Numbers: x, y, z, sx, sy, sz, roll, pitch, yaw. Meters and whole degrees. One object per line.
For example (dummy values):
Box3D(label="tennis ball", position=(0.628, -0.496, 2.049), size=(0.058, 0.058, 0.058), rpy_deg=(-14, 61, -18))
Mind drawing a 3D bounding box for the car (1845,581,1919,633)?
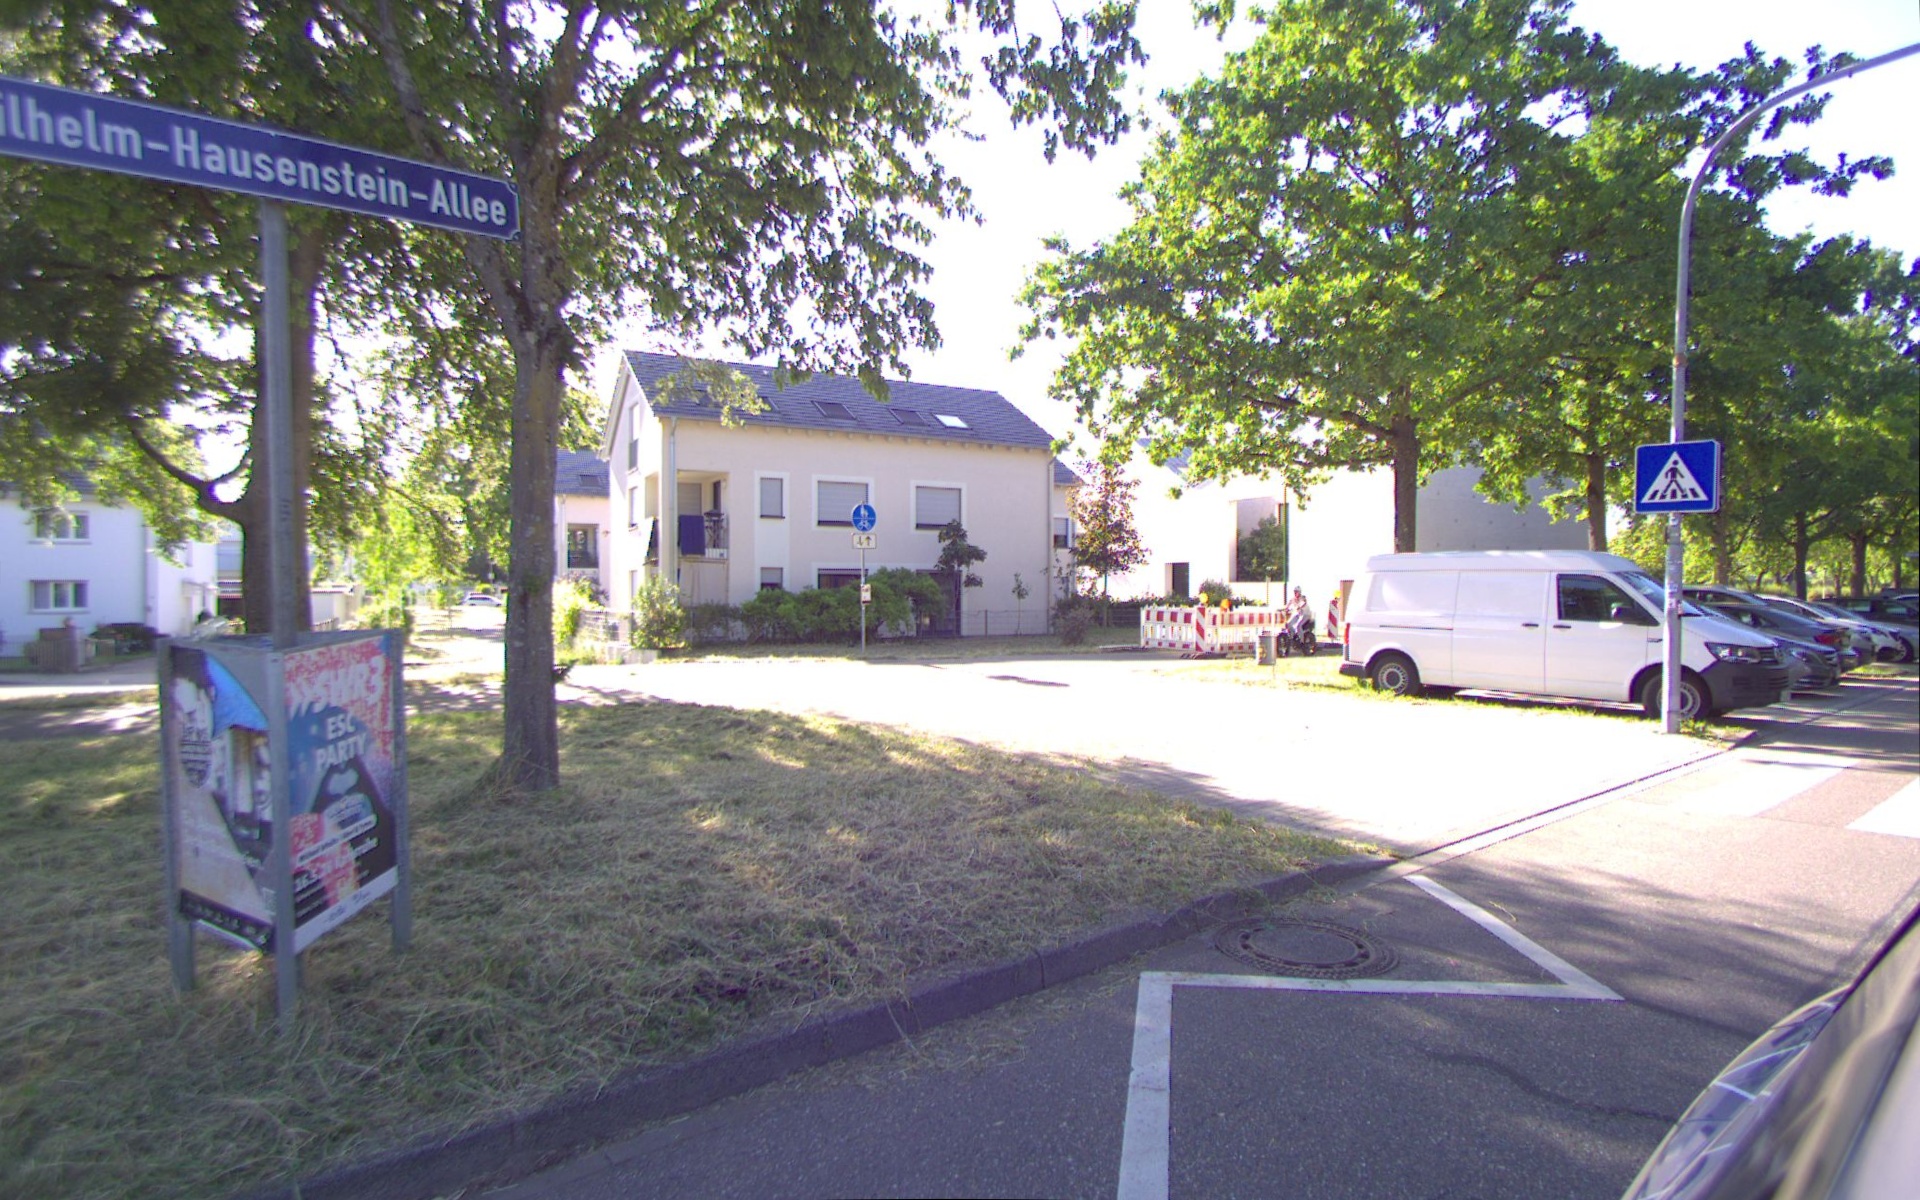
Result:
Box3D(label="car", position=(32.940, 0.230, 34.156), size=(1.504, 1.765, 4.396), rpy_deg=(0, 0, -37))

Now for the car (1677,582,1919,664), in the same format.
Box3D(label="car", position=(18.988, 0.490, 23.083), size=(1.504, 1.700, 4.020), rpy_deg=(0, 0, -37))

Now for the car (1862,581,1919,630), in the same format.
Box3D(label="car", position=(35.992, 0.194, 36.937), size=(1.504, 1.765, 4.396), rpy_deg=(0, 0, -37))

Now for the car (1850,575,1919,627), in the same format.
Box3D(label="car", position=(37.904, 0.031, 39.621), size=(1.504, 2.013, 4.396), rpy_deg=(0, 0, -37))

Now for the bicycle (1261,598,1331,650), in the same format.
Box3D(label="bicycle", position=(7.801, 0.542, 23.438), size=(1.797, 1.165, 0.677), rpy_deg=(0, 0, -39))

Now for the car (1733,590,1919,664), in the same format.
Box3D(label="car", position=(21.511, 0.610, 24.635), size=(1.504, 1.681, 4.020), rpy_deg=(0, 0, -37))

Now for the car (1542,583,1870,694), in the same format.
Box3D(label="car", position=(12.061, 0.554, 16.596), size=(1.725, 1.583, 3.997), rpy_deg=(0, 0, -37))

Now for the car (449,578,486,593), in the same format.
Box3D(label="car", position=(-68.366, -1.948, 140.537), size=(4.524, 2.039, 2.003), rpy_deg=(0, 0, -24))

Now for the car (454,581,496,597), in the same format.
Box3D(label="car", position=(-62.402, -1.367, 130.206), size=(4.543, 2.039, 1.995), rpy_deg=(0, 0, -43))

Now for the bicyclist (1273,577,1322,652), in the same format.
Box3D(label="bicyclist", position=(7.830, 0.328, 23.484), size=(0.834, 1.687, 0.726), rpy_deg=(-1, -1, -40))

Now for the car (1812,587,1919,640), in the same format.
Box3D(label="car", position=(30.419, 0.433, 32.541), size=(1.504, 1.662, 4.396), rpy_deg=(0, 0, -37))

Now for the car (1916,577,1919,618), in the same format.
Box3D(label="car", position=(43.360, -0.107, 42.572), size=(1.504, 1.765, 4.396), rpy_deg=(0, 0, -37))

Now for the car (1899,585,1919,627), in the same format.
Box3D(label="car", position=(41.433, 0.233, 41.253), size=(1.504, 1.765, 4.396), rpy_deg=(0, 0, -37))

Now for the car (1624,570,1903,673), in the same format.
Box3D(label="car", position=(15.698, 0.380, 19.974), size=(1.681, 1.816, 4.020), rpy_deg=(0, 0, -37))

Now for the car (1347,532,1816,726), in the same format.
Box3D(label="car", position=(8.006, 0.266, 13.559), size=(1.857, 2.107, 5.045), rpy_deg=(0, 1, -39))

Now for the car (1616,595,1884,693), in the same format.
Box3D(label="car", position=(13.992, 0.708, 18.092), size=(1.421, 1.561, 3.517), rpy_deg=(0, 0, -37))
